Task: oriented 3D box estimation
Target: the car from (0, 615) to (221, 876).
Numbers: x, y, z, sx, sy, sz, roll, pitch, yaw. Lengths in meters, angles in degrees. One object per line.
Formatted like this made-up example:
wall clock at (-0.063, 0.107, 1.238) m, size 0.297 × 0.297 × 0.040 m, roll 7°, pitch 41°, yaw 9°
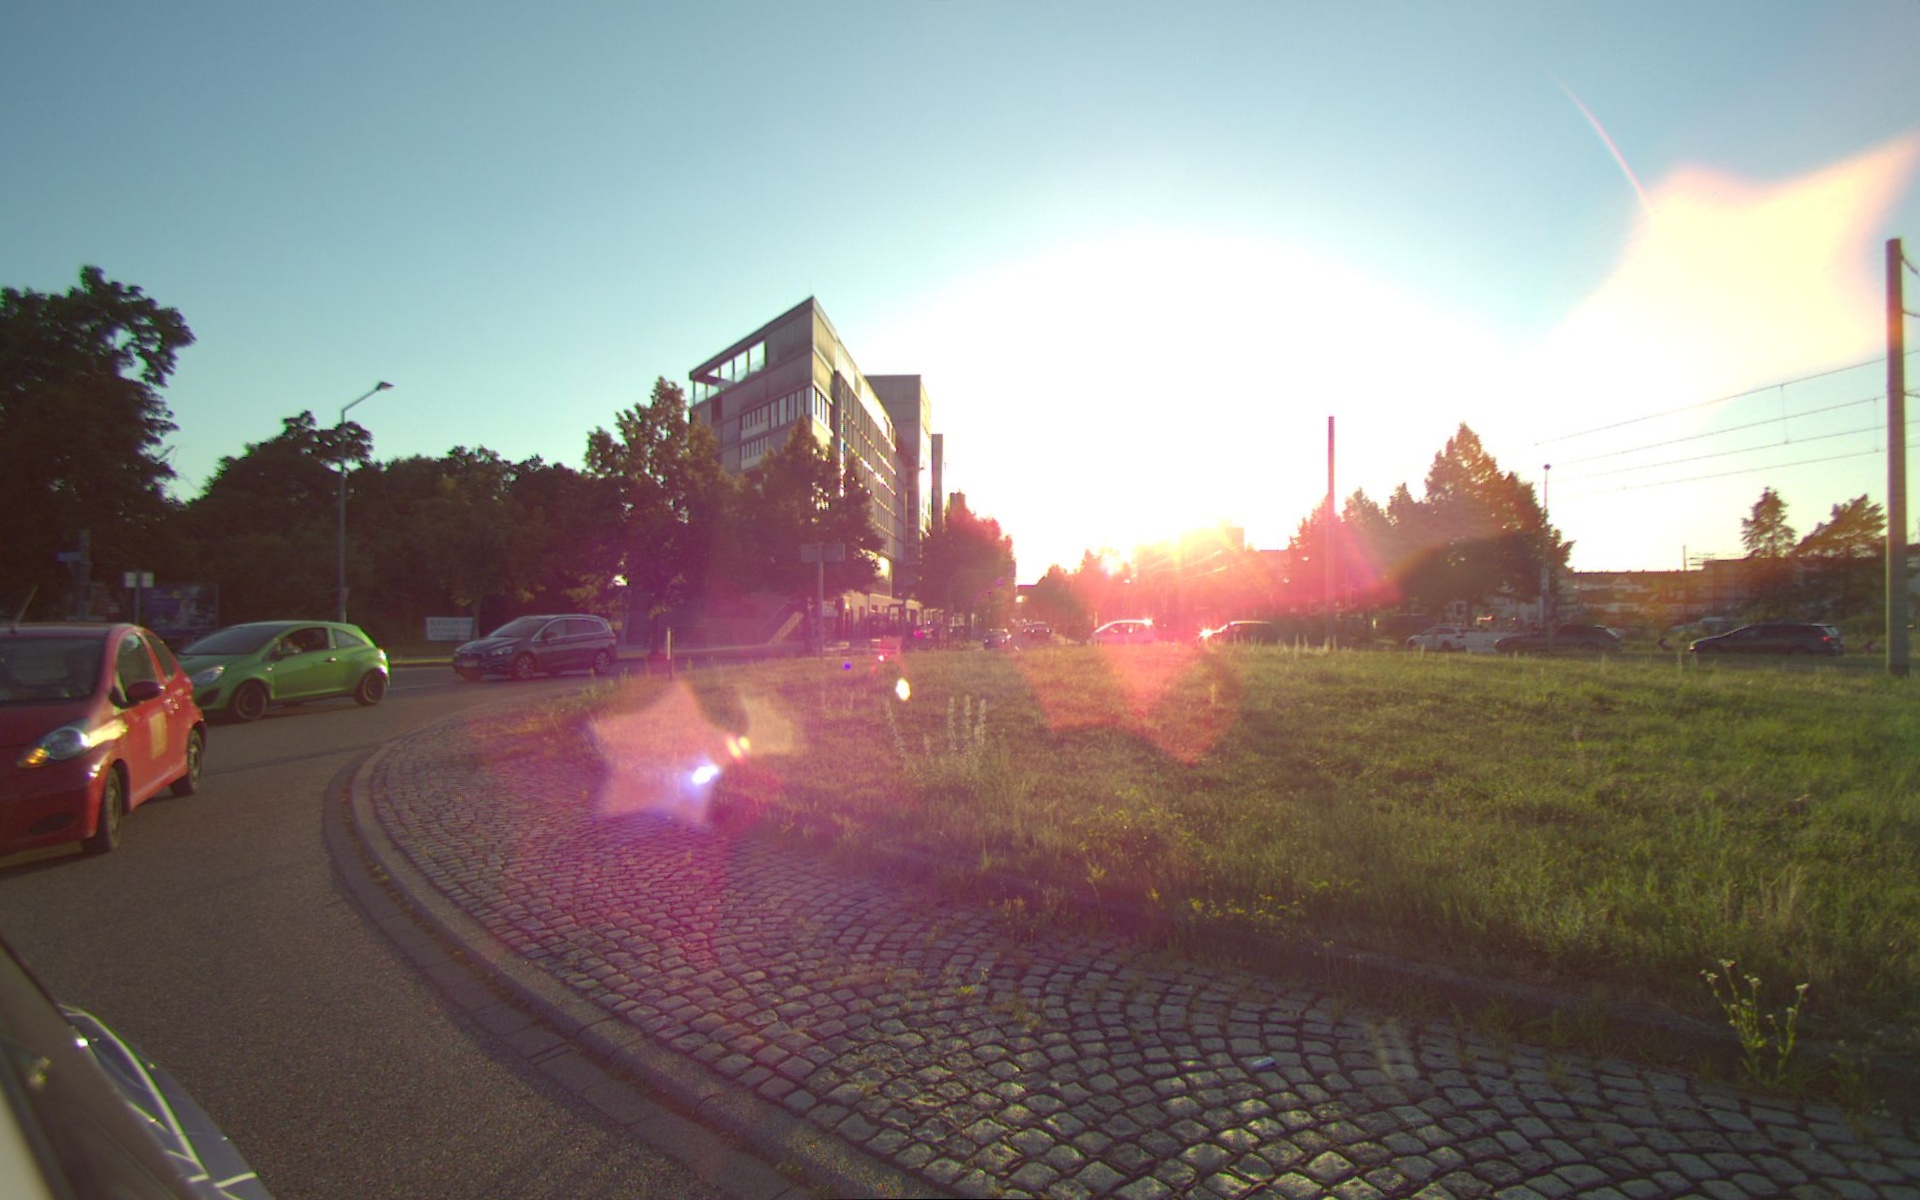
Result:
car at (-6.642, 0.836, 7.129) m, size 1.660 × 1.431 × 4.013 m, roll 0°, pitch -1°, yaw -27°

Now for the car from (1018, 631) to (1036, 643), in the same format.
car at (8.458, 4.685, 127.992) m, size 1.973 × 1.464 × 3.998 m, roll 0°, pitch -1°, yaw 1°

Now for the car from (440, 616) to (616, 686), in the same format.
car at (-10.767, 1.218, 25.580) m, size 1.719 × 1.590 × 4.305 m, roll -1°, pitch -1°, yaw 17°

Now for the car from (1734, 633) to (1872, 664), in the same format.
car at (34.183, 1.937, 41.120) m, size 1.662 × 1.113 × 4.009 m, roll 1°, pitch -1°, yaw -36°

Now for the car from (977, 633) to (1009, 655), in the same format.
car at (2.312, 3.009, 69.333) m, size 1.731 × 1.389 × 4.114 m, roll 0°, pitch -1°, yaw 9°

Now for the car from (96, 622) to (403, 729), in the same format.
car at (-10.844, 1.072, 15.849) m, size 1.670 × 1.431 × 3.990 m, roll 0°, pitch -1°, yaw 8°

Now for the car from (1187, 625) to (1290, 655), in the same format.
car at (13.134, 1.891, 47.957) m, size 4.325 × 1.386 × 1.999 m, roll 0°, pitch -1°, yaw 2°

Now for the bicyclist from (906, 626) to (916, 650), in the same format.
bicyclist at (-3.075, 2.356, 63.000) m, size 0.602 × 1.451 × 0.692 m, roll 0°, pitch -1°, yaw -2°

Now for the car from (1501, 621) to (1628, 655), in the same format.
car at (25.727, 1.598, 43.120) m, size 4.351 × 1.386 × 1.972 m, roll -1°, pitch -2°, yaw 42°

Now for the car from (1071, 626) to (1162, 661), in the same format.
car at (7.340, 2.043, 47.726) m, size 3.831 × 1.592 × 1.958 m, roll 0°, pitch -1°, yaw -7°

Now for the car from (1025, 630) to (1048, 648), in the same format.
car at (7.797, 4.016, 103.819) m, size 1.972 × 1.827 × 5.303 m, roll -2°, pitch -2°, yaw 1°

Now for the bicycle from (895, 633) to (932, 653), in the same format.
bicycle at (-2.894, 2.680, 62.978) m, size 2.315 × 1.254 × 0.742 m, roll 0°, pitch -1°, yaw 0°

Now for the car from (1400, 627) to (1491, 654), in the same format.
car at (26.788, 2.210, 56.018) m, size 2.074 × 1.377 × 4.480 m, roll 0°, pitch -1°, yaw -16°

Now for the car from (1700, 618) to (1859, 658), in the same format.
car at (30.630, 1.386, 37.936) m, size 1.969 × 1.386 × 4.389 m, roll 1°, pitch -2°, yaw -42°

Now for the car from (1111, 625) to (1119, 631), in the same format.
car at (39.742, 7.120, 259.284) m, size 1.976 × 1.464 × 3.992 m, roll 0°, pitch -1°, yaw 6°
